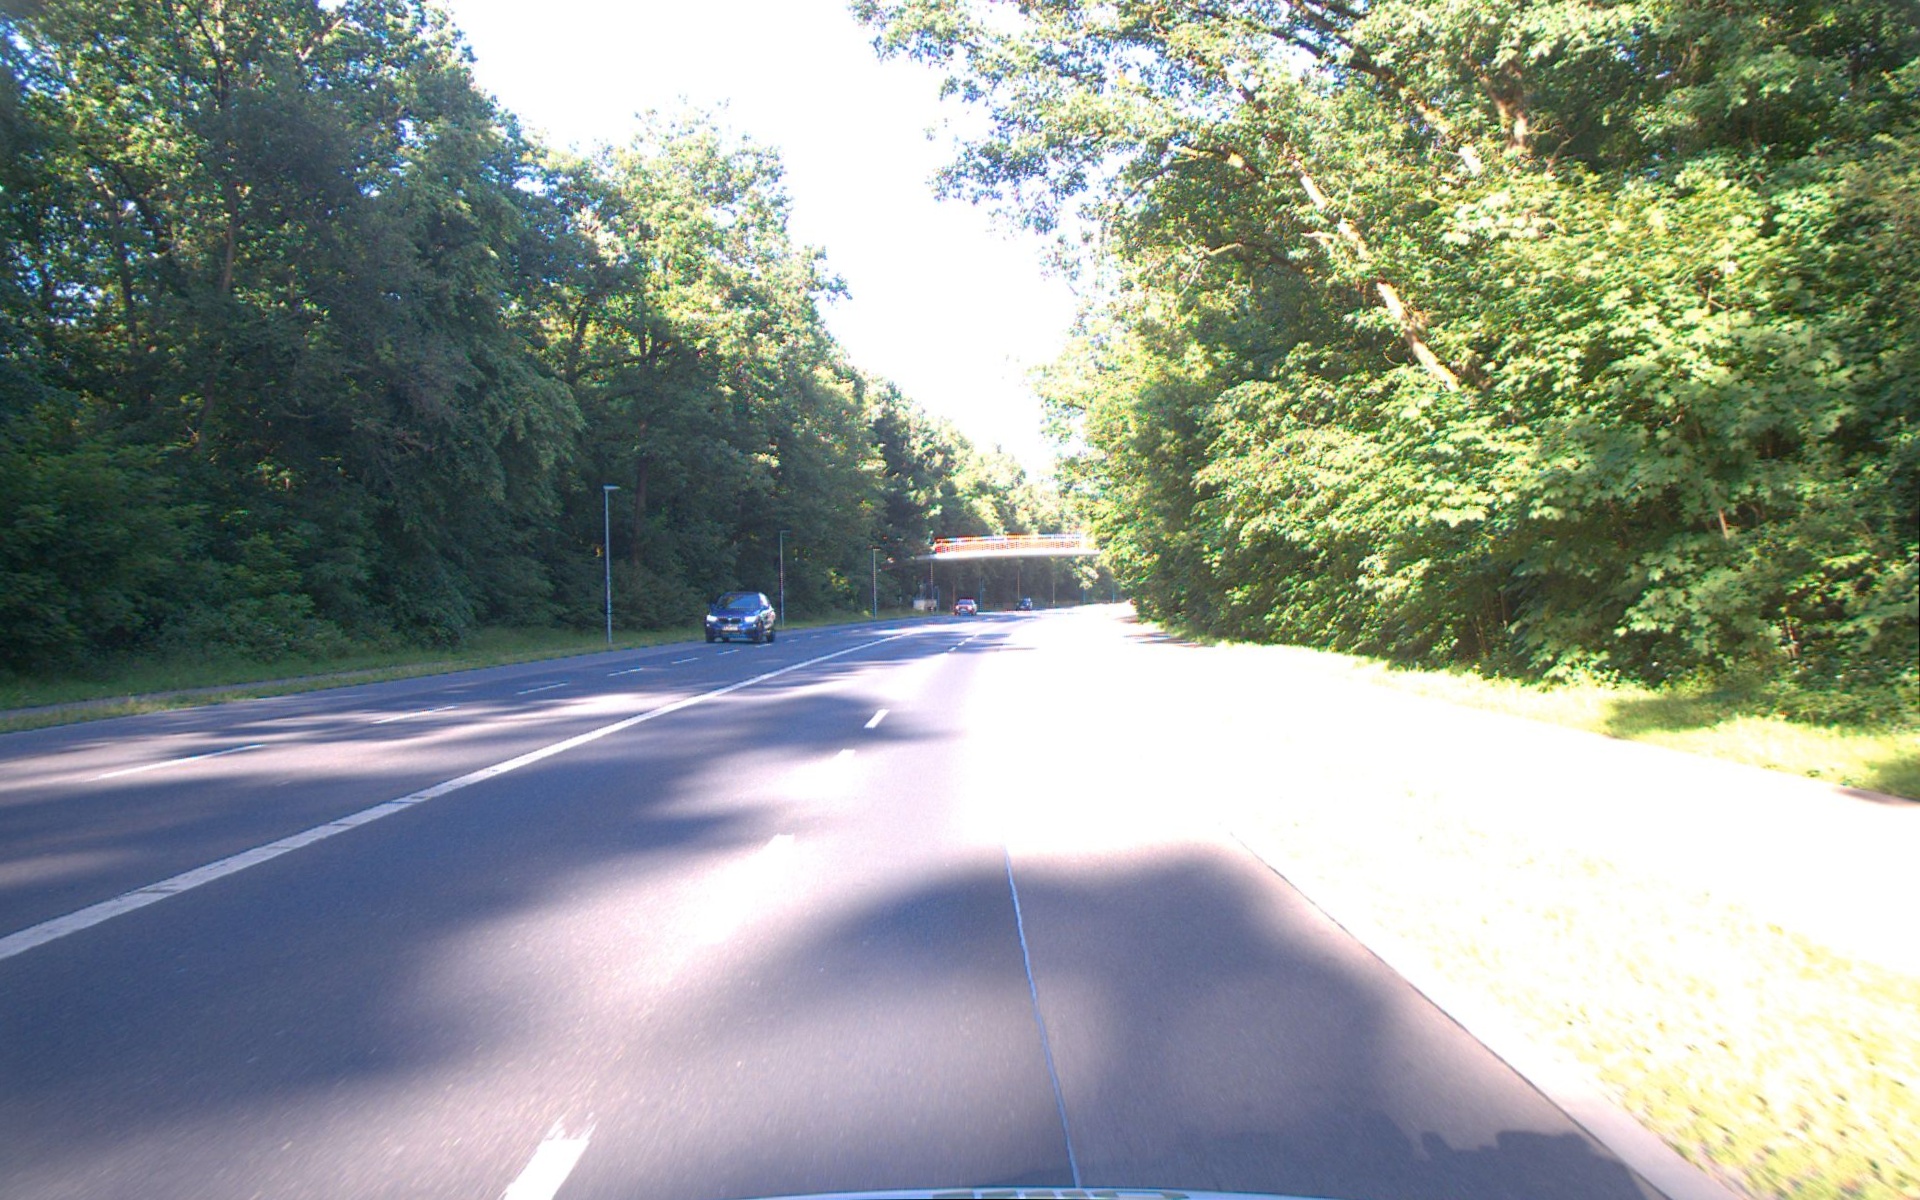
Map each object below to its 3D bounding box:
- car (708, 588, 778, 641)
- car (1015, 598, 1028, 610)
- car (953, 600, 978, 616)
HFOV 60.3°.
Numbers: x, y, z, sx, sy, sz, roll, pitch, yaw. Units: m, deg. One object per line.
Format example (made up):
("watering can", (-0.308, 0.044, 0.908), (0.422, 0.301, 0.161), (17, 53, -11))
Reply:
("car", (-7.121, 0.457, 54.694), (1.771, 1.692, 4.521), (0, 0, -1))
("car", (7.362, 0.495, 198.184), (1.464, 1.470, 3.501), (0, 0, 3))
("car", (0.515, 0.687, 148.209), (1.673, 1.448, 4.134), (0, 0, 9))
